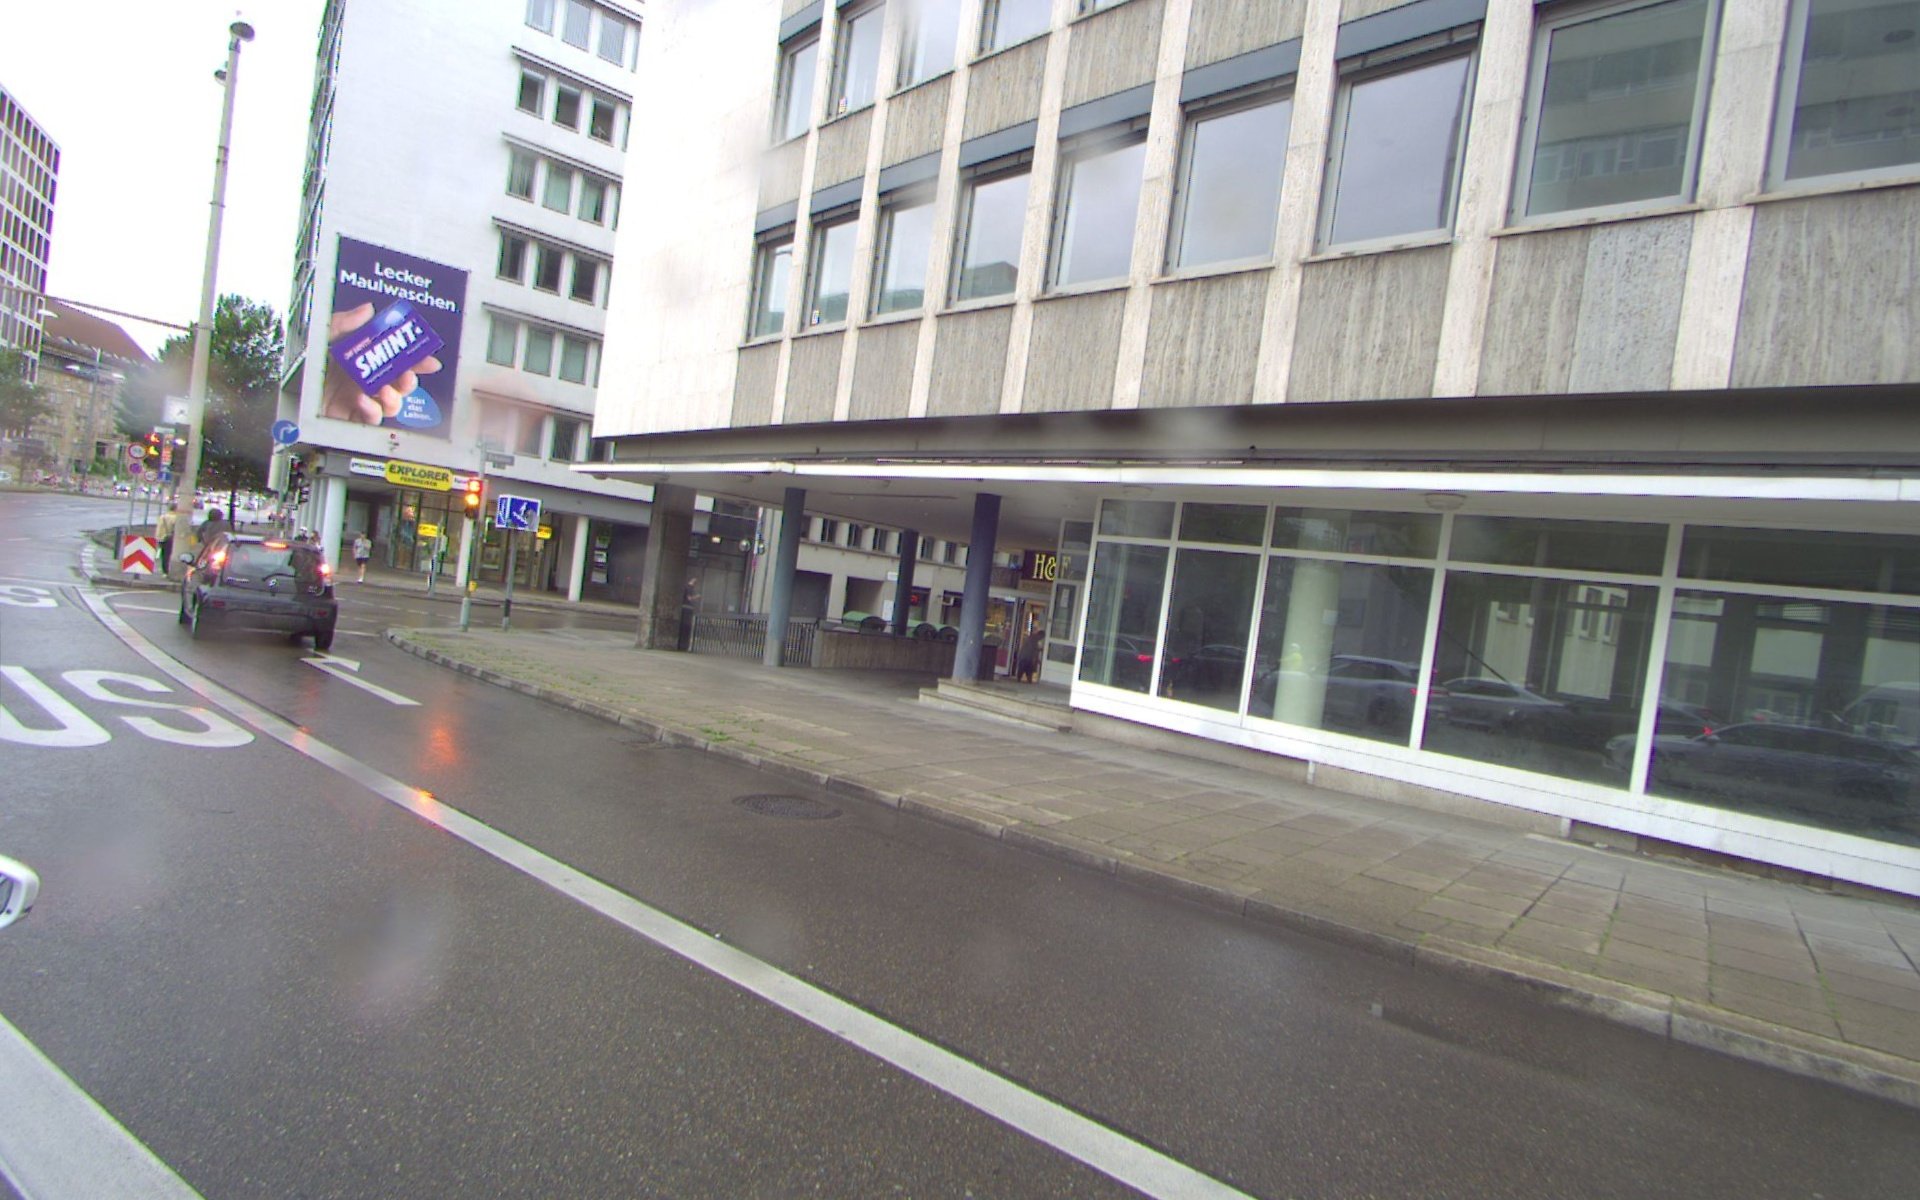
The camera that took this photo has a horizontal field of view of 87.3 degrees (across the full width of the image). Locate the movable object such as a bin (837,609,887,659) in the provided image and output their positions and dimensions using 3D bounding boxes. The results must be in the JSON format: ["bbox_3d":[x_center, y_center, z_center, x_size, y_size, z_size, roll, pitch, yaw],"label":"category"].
[{"bbox_3d":[-3.272,1.134,33.526,0.961,1.447,1.268,7,1,-36],"label":"movable object such as a bin"}]

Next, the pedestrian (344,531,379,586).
[{"bbox_3d":[-20.843,-1.440,35.030,0.660,1.815,0.771,7,0,-15],"label":"pedestrian"}]

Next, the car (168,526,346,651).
[{"bbox_3d":[-10.451,-0.230,14.830,1.566,1.446,3.953,9,-2,-42],"label":"car"}]

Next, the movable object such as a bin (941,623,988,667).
[{"bbox_3d":[0.163,1.641,36.627,1.095,1.399,1.186,7,1,-37],"label":"movable object such as a bin"}]

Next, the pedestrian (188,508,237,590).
[{"bbox_3d":[-17.600,-1.200,23.696,0.745,1.820,0.808,7,1,-38],"label":"pedestrian"}]

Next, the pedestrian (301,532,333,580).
[{"bbox_3d":[-22.202,-1.505,34.746,0.616,1.561,0.651,8,0,-15],"label":"pedestrian"}]

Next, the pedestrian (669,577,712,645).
[{"bbox_3d":[-7.396,0.311,27.600,0.768,1.752,0.589,7,0,-44],"label":"pedestrian"}]

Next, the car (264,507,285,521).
[{"bbox_3d":[-91.706,-11.496,134.610,1.680,1.503,3.973,8,-2,-28],"label":"car"}]

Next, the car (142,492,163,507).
[{"bbox_3d":[-133.839,-16.602,166.823,1.980,2.037,3.968,8,-1,-31],"label":"car"}]

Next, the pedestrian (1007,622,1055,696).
[{"bbox_3d":[1.877,1.565,26.575,0.700,1.825,0.797,8,0,40],"label":"pedestrian"}]

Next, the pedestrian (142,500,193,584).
[{"bbox_3d":[-18.456,-1.350,23.444,0.745,1.820,0.808,7,1,-38],"label":"pedestrian"}]

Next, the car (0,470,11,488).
[{"bbox_3d":[-84.035,-10.635,87.343,1.622,1.454,3.871,8,0,-34],"label":"car"}]

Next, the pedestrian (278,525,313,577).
[{"bbox_3d":[-22.848,-1.668,34.590,0.660,1.675,0.651,8,0,-15],"label":"pedestrian"}]

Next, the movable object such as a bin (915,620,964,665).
[{"bbox_3d":[-0.742,1.514,35.939,1.095,1.399,1.186,7,1,-37],"label":"movable object such as a bin"}]

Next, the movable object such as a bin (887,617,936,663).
[{"bbox_3d":[-1.691,1.388,35.178,1.095,1.399,1.186,7,1,-37],"label":"movable object such as a bin"}]

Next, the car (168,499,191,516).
[{"bbox_3d":[-98.499,-11.659,126.975,1.878,1.662,3.962,8,-1,-35],"label":"car"}]
